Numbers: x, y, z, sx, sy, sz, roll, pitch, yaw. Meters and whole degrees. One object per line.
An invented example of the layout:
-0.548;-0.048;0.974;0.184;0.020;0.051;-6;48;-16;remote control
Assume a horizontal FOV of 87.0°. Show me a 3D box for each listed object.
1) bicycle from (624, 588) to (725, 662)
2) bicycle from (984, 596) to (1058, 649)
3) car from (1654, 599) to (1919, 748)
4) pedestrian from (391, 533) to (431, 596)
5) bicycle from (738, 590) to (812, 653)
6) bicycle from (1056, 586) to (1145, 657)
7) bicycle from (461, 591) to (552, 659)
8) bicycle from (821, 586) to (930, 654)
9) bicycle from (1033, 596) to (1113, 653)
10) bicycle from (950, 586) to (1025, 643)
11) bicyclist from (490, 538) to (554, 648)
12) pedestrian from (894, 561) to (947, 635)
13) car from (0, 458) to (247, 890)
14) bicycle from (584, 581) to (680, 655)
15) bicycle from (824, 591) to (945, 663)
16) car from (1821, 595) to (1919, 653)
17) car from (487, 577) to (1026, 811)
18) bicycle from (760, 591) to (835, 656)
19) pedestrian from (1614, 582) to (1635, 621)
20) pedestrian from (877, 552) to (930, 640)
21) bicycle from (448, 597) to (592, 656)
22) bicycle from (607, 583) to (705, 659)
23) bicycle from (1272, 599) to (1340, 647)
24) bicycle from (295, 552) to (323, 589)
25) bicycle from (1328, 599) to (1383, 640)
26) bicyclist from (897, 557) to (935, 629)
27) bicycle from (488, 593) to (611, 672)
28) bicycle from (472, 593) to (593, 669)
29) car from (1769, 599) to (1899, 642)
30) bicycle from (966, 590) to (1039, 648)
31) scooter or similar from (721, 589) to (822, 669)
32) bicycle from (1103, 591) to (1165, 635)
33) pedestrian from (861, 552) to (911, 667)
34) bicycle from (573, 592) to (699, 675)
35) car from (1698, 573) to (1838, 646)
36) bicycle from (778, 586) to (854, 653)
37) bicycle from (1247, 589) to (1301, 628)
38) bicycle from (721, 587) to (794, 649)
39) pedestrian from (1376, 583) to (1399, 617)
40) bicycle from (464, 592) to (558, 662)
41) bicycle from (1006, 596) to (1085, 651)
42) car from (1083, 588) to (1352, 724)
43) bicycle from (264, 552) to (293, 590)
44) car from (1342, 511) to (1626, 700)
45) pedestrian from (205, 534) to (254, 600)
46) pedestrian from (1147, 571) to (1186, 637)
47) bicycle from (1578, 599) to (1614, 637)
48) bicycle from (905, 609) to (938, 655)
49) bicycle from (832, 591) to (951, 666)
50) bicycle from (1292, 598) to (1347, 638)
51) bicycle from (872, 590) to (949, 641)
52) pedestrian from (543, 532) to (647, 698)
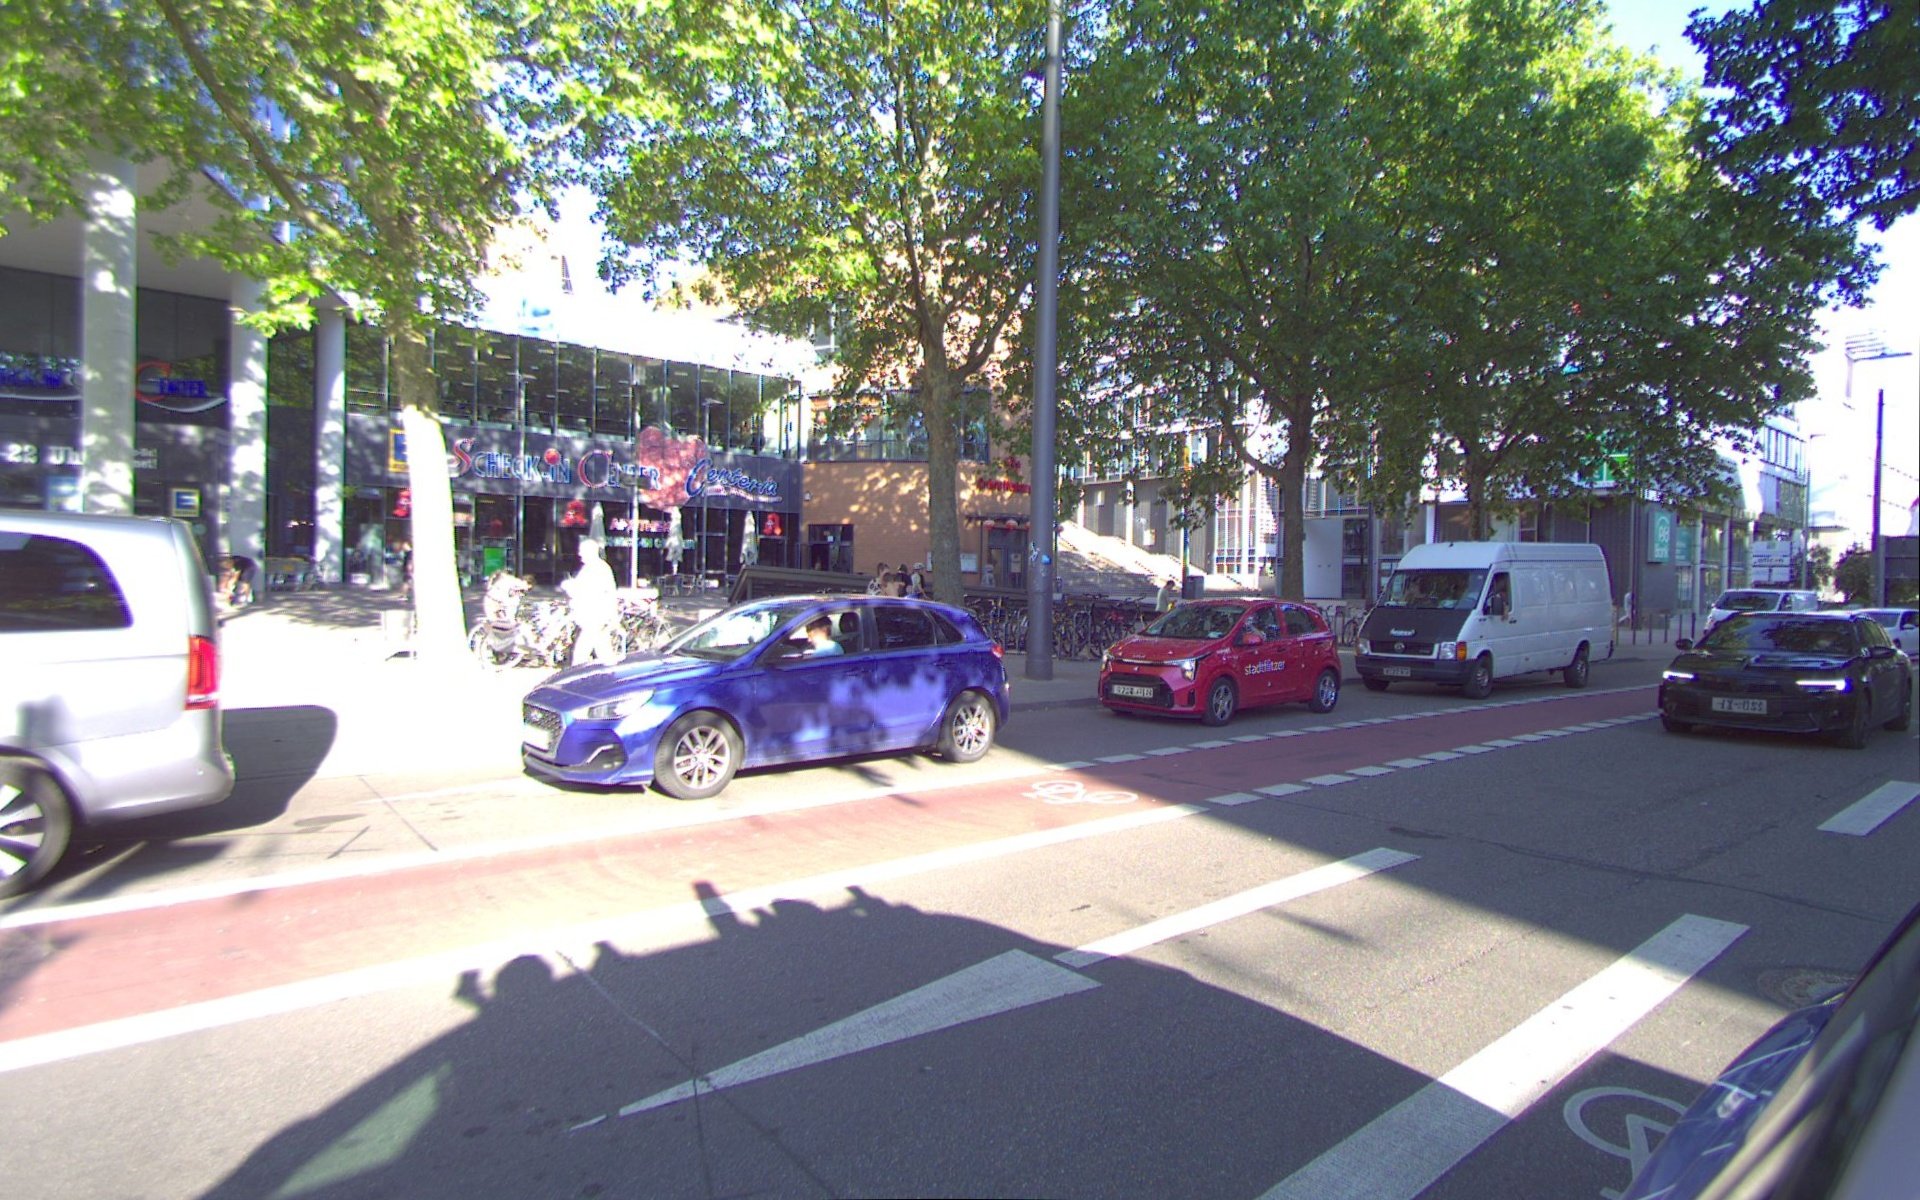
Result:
-4.399;0.366;15.660;1.451;1.095;0.421;0;1;-42;bicycle
1.274;0.444;20.873;1.626;1.044;0.503;0;1;-41;bicycle
9.933;0.716;11.914;4.268;1.443;1.826;0;0;-40;car
-16.764;-1.083;30.931;0.834;1.866;1.002;1;1;-15;pedestrian
-3.573;0.404;19.641;0.420;1.174;1.455;2;1;41;bicycle
2.694;0.389;19.270;1.843;1.280;0.596;0;1;-41;bicycle
-7.162;0.384;16.007;1.293;1.038;0.397;1;1;-24;bicycle
-1.472;0.339;17.493;1.788;1.130;0.598;1;1;-13;bicycle
2.221;0.462;19.762;1.626;1.044;0.596;0;1;-41;bicycle
0.602;0.303;21.745;1.662;1.174;0.479;0;1;-37;bicycle
-7.344;-0.118;16.994;0.834;1.789;0.754;1;1;-13;bicyclist
-0.972;-0.062;24.929;1.000;1.779;0.789;0;1;-35;pedestrian
-6.268;0.338;4.387;5.047;1.991;1.997;0;0;-41;car
-5.418;0.290;16.749;1.450;1.174;0.421;0;1;-40;bicycle
-1.249;0.438;16.684;1.908;1.130;0.598;1;1;-13;bicycle
26.256;0.648;28.494;3.789;1.482;1.675;1;1;-26;car
-1.542;0.587;8.563;4.143;1.482;1.768;0;2;-41;car
-3.074;0.423;19.213;0.420;1.174;1.455;2;1;41;bicycle
29.329;0.059;44.674;0.532;1.697;0.720;1;1;14;pedestrian
-1.187;-0.099;21.117;0.756;1.779;0.820;1;1;-35;pedestrian
-7.351;0.434;17.001;2.138;0.945;0.669;1;1;-13;bicycle
-4.882;0.322;16.298;1.451;1.174;0.421;0;1;-42;bicycle
8.061;0.527;23.544;1.622;1.060;0.598;0;1;-32;bicycle
-20.800;-0.941;32.356;0.705;1.142;1.921;1;1;-32;bicycle
10.634;0.511;27.206;1.624;1.060;0.597;0;1;-37;bicycle
-1.032;-0.165;23.562;0.805;1.636;0.565;1;1;-7;bicyclist
-5.770;0.433;14.276;1.546;1.038;0.461;0;2;-43;bicycle
-6.181;0.423;14.676;1.546;1.038;0.461;0;2;-43;bicycle
31.122;0.721;36.041;3.937;1.437;1.791;1;1;-20;car
0.911;0.386;21.316;1.626;1.151;0.503;0;1;-41;bicycle
-2.930;0.442;15.713;1.249;1.156;0.905;-2;0;37;scooter or similar
4.667;0.332;27.071;1.622;1.140;0.598;0;1;-32;bicycle
-1.203;0.143;16.292;0.644;1.808;0.810;1;1;-14;pedestrian
-4.463;0.442;13.972;1.542;1.070;0.630;0;1;-35;bicycle
26.259;0.261;32.832;5.189;2.160;2.130;0;2;-35;car
-2.664;0.344;18.828;0.420;1.174;1.455;2;1;41;bicycle
8.912;0.231;28.699;1.624;1.060;0.597;0;1;-37;bicycle
-3.996;0.339;20.023;0.420;1.174;1.455;2;1;41;bicycle
18.909;0.016;44.799;0.589;1.474;0.713;1;1;-37;pedestrian
-6.894;0.404;15.576;1.293;1.038;0.397;1;1;-24;bicycle
1.725;0.457;20.335;1.626;1.044;0.596;0;1;-41;bicycle
3.334;0.603;12.815;3.558;1.482;1.561;0;1;-41;car
-21.441;-0.914;31.857;0.705;1.142;1.921;1;1;-32;bicycle
9.264;0.075;17.566;6.443;2.759;1.998;0;0;-39;car
-18.869;-0.851;26.151;0.951;1.661;0.865;0;1;-41;pedestrian
5.247;0.089;25.735;0.623;1.651;0.719;1;1;-34;pedestrian
20.665;0.576;32.881;1.511;1.173;0.514;0;1;-39;bicycle
-0.715;0.575;18.628;0.391;0.770;1.114;1;1;-13;bicycle
-1.087;0.447;15.998;1.788;1.130;0.598;1;1;-13;bicycle
9.908;0.479;27.876;1.624;1.060;0.597;0;1;-37;bicycle
-1.158;0.360;23.555;1.742;1.140;0.568;1;1;-7;bicycle
-4.205;0.150;11.648;0.872;1.808;0.796;2;1;43;pedestrian
